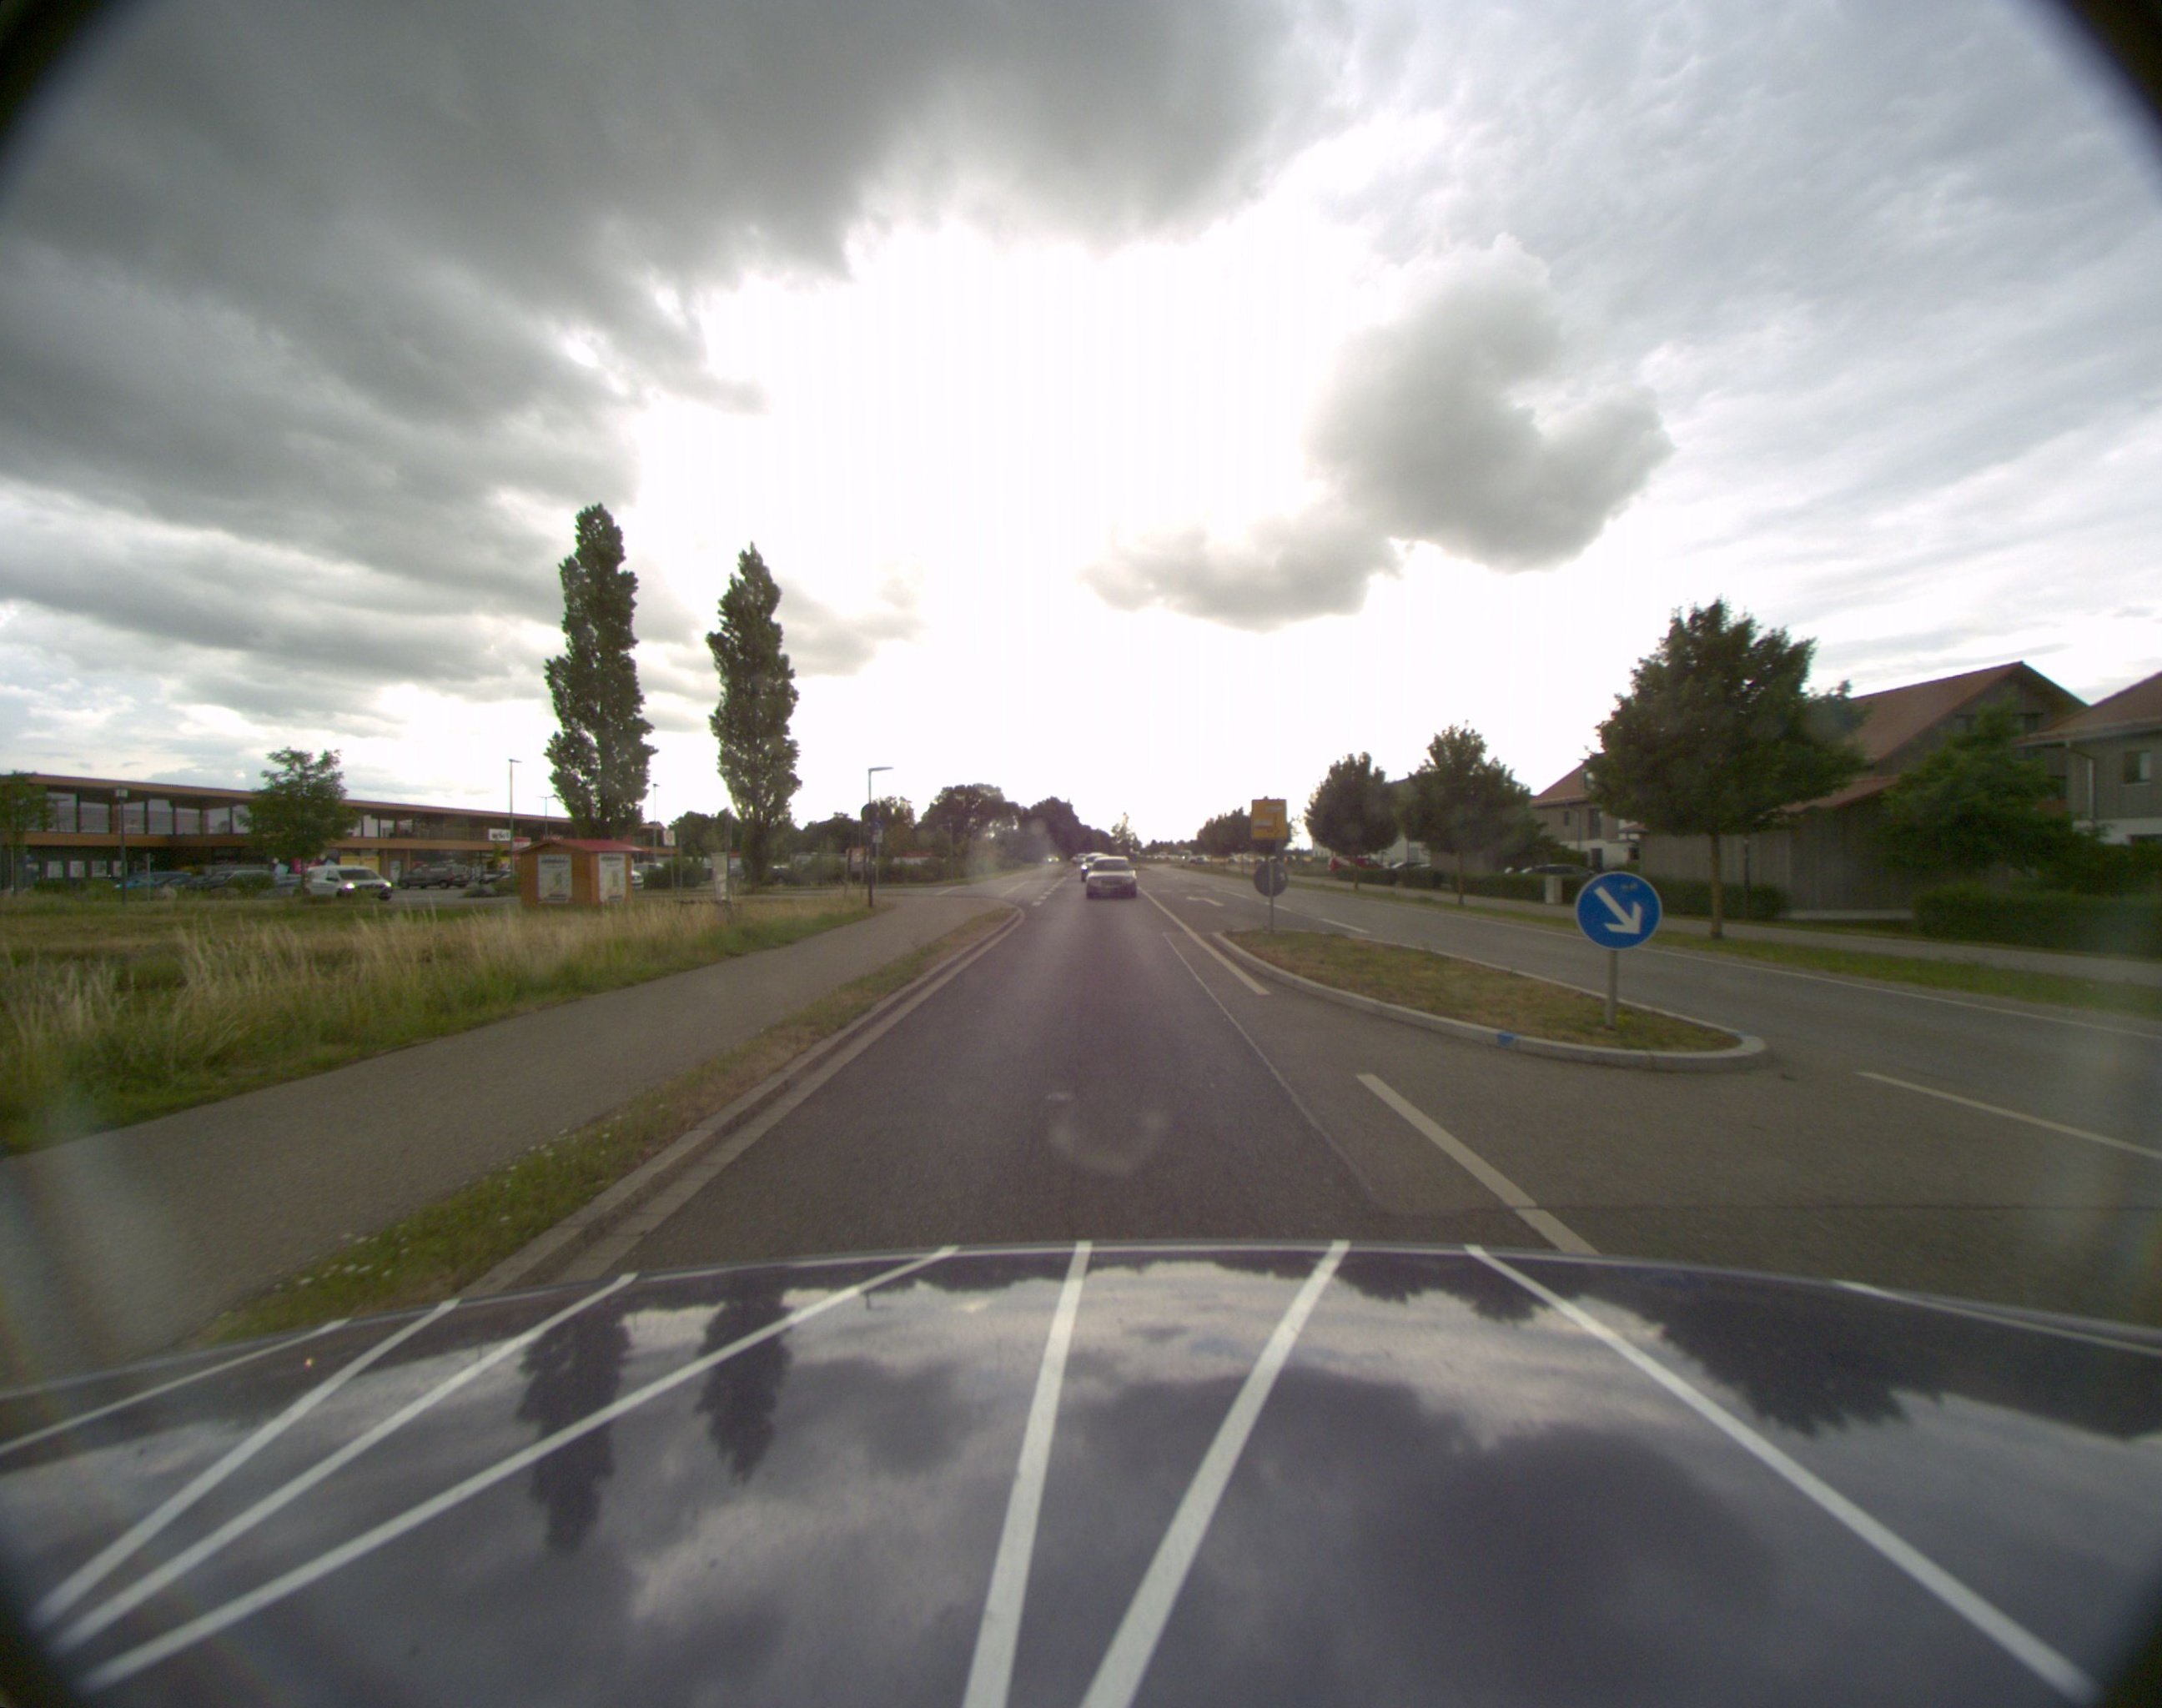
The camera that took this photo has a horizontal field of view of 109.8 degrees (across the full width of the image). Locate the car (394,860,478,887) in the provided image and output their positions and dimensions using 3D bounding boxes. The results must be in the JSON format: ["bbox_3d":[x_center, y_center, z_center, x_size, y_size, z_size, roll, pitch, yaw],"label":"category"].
[{"bbox_3d":[-52.876,1.573,62.404,4.857,2.002,1.999,-2,1,-7],"label":"car"}]

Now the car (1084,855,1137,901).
[{"bbox_3d":[1.115,0.818,27.985,1.762,1.410,4.520,-2,1,3],"label":"car"}]

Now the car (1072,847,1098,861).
[{"bbox_3d":[0.631,0.042,116.616,2.003,2.002,3.990,-3,1,-34],"label":"car"}]

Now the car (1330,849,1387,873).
[{"bbox_3d":[25.666,0.677,70.382,4.568,2.002,2.000,-2,1,6],"label":"car"}]

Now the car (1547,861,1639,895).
[{"bbox_3d":[25.005,1.169,37.192,3.592,1.431,1.301,-2,1,1],"label":"car"}]

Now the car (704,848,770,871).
[{"bbox_3d":[-34.168,0.552,75.633,5.527,2.002,1.999,-2,1,-5],"label":"car"}]

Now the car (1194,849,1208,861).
[{"bbox_3d":[20.285,0.155,128.541,1.996,1.772,4.003,-2,1,13],"label":"car"}]

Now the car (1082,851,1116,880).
[{"bbox_3d":[1.001,0.619,43.339,1.763,1.495,4.691,-3,1,1],"label":"car"}]

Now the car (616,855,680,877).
[{"bbox_3d":[-46.042,1.285,80.947,5.527,2.002,1.999,-2,1,-5],"label":"car"}]

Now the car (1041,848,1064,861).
[{"bbox_3d":[-4.853,0.126,127.521,1.795,2.002,4.455,-3,1,-33],"label":"car"}]

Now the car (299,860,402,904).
[{"bbox_3d":[-36.786,1.409,38.238,5.304,2.002,2.003,-2,1,27],"label":"car"}]

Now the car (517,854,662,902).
[{"bbox_3d":[-23.733,1.144,36.871,5.313,2.002,2.562,-2,1,2],"label":"car"}]

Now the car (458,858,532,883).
[{"bbox_3d":[-53.236,1.501,69.127,4.857,2.002,1.999,-2,1,-7],"label":"car"}]

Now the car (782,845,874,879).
[{"bbox_3d":[-17.093,0.531,51.607,5.527,2.002,1.999,-2,1,-5],"label":"car"}]
